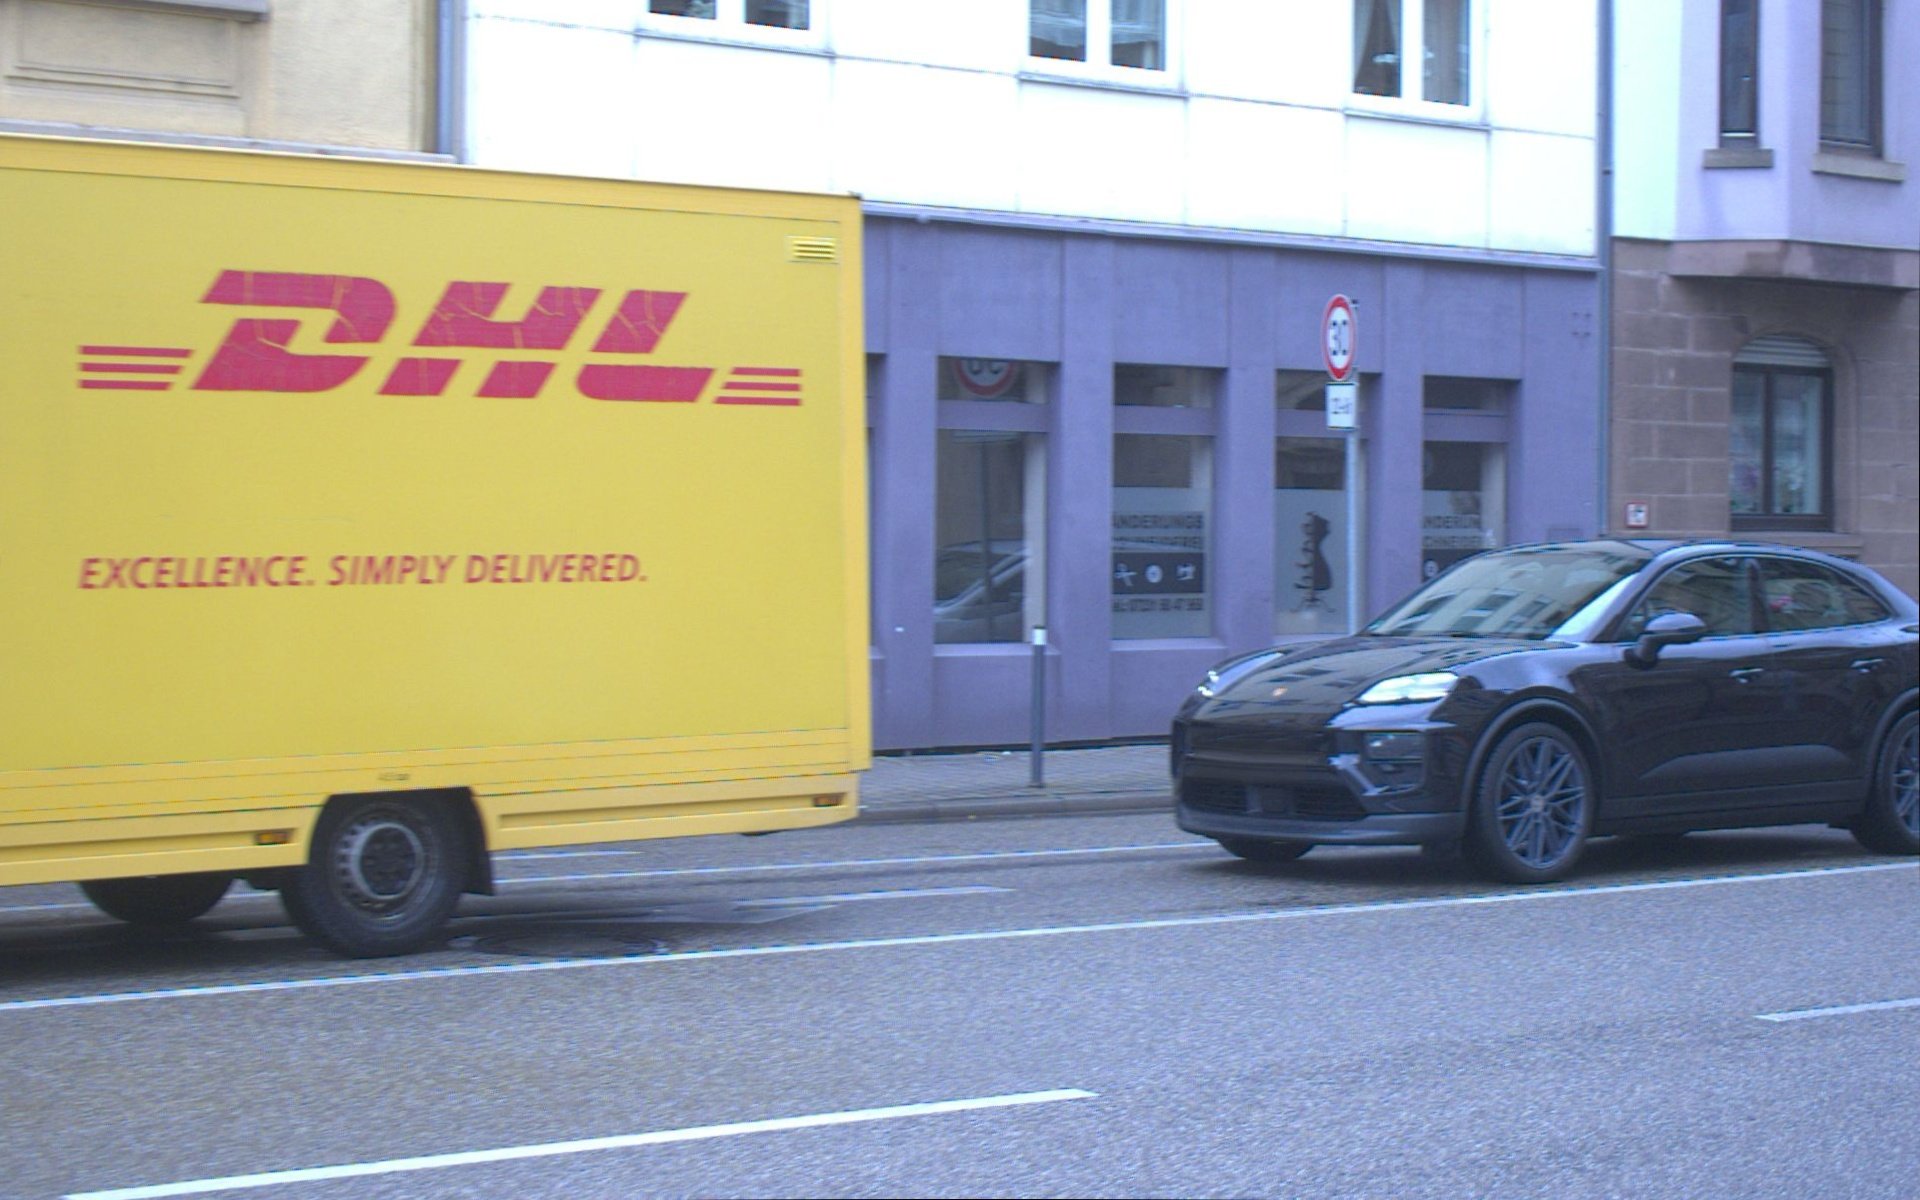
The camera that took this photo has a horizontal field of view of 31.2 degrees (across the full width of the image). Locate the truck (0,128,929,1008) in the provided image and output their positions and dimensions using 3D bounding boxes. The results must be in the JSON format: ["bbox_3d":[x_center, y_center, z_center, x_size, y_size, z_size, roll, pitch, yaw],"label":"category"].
[{"bbox_3d":[-3.534,-0.108,12.093,7.093,2.841,2.082,0,0,-39],"label":"truck"}]

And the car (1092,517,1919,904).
[{"bbox_3d":[3.136,0.458,17.200,4.812,1.679,1.999,0,1,-39],"label":"car"}]
